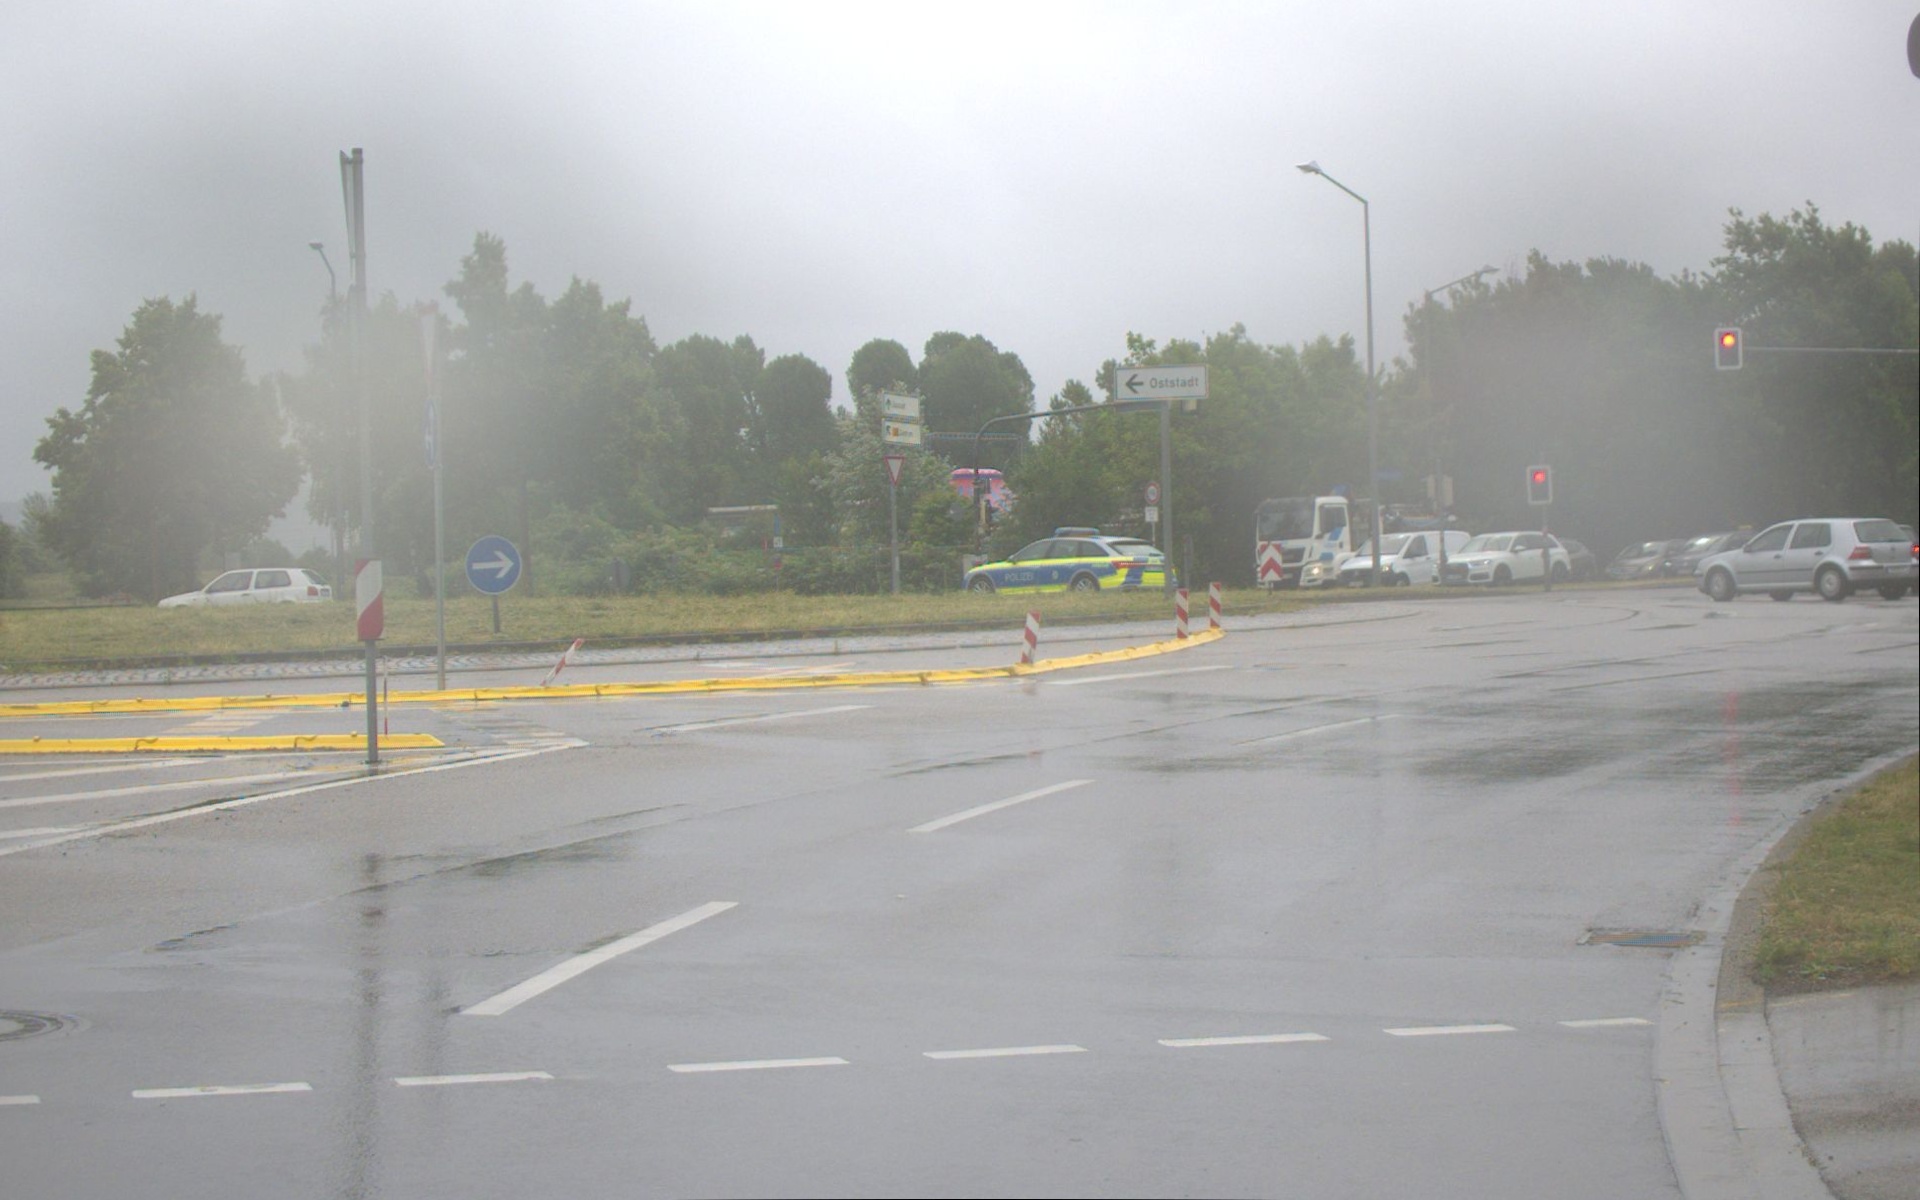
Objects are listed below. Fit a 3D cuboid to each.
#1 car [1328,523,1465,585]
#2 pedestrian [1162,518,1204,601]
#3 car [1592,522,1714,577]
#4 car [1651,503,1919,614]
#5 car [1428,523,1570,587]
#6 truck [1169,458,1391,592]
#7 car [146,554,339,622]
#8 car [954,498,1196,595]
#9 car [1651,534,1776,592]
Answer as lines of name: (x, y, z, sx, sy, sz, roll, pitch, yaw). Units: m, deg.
car: (12.236, -1.270, 96.248, 1.800, 1.656, 4.124, 1, 0, 41)
pedestrian: (3.524, -0.642, 54.357, 0.453, 1.300, 0.485, -1, 1, 38)
car: (21.865, -1.590, 108.394, 1.800, 1.656, 4.399, -1, 1, 41)
car: (14.522, -0.716, 60.115, 1.993, 1.845, 4.776, 1, 0, -33)
car: (14.851, -1.227, 94.591, 1.800, 1.656, 4.399, 1, 0, 41)
truck: (7.013, -1.556, 74.225, 2.464, 2.677, 8.049, 1, 0, 23)
car: (-16.374, -0.286, 78.528, 3.975, 1.449, 1.623, -1, 1, 7)
car: (2.255, -1.057, 68.540, 1.995, 1.845, 4.773, -2, 1, -44)
car: (22.789, -1.109, 103.902, 1.800, 1.656, 4.399, 1, 0, 41)
